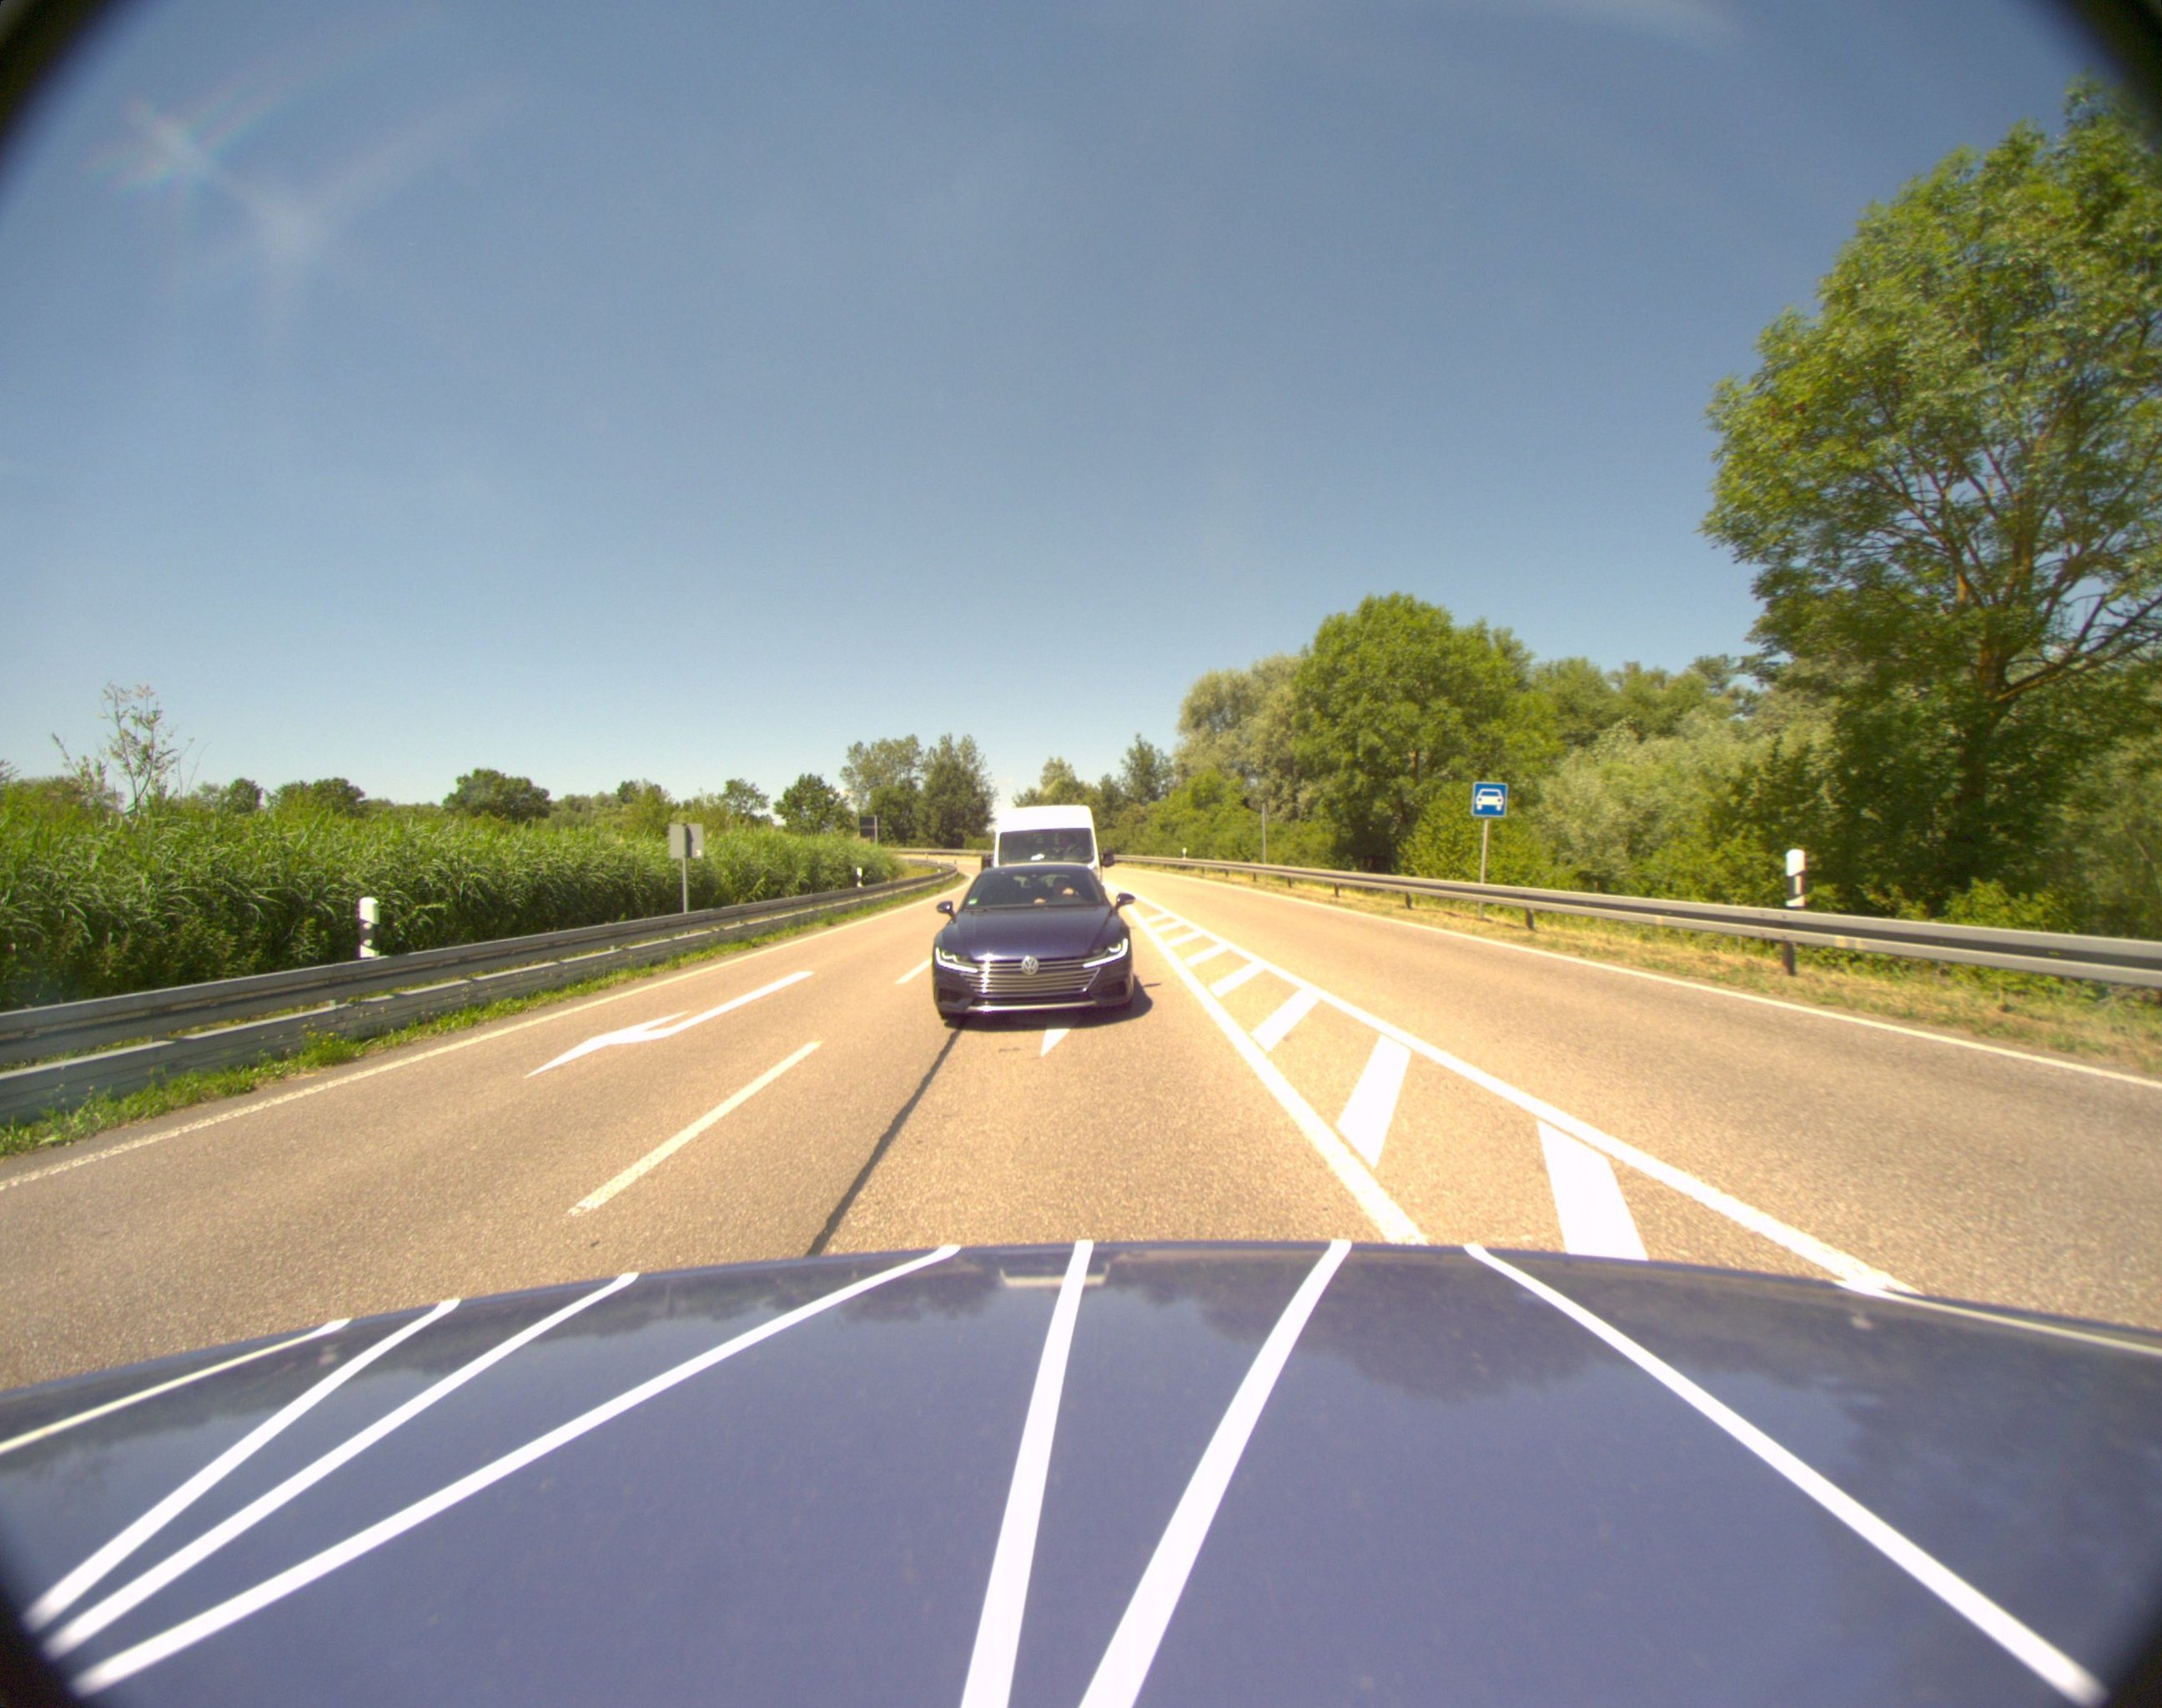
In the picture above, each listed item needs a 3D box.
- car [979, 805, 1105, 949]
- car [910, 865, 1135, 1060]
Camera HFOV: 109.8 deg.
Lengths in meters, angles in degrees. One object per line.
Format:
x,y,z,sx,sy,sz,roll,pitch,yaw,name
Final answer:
-0.634,0.359,15.823,2.059,2.376,5.826,-2,1,1,car
-0.452,0.910,8.143,1.761,1.401,3.999,-2,1,0,car
